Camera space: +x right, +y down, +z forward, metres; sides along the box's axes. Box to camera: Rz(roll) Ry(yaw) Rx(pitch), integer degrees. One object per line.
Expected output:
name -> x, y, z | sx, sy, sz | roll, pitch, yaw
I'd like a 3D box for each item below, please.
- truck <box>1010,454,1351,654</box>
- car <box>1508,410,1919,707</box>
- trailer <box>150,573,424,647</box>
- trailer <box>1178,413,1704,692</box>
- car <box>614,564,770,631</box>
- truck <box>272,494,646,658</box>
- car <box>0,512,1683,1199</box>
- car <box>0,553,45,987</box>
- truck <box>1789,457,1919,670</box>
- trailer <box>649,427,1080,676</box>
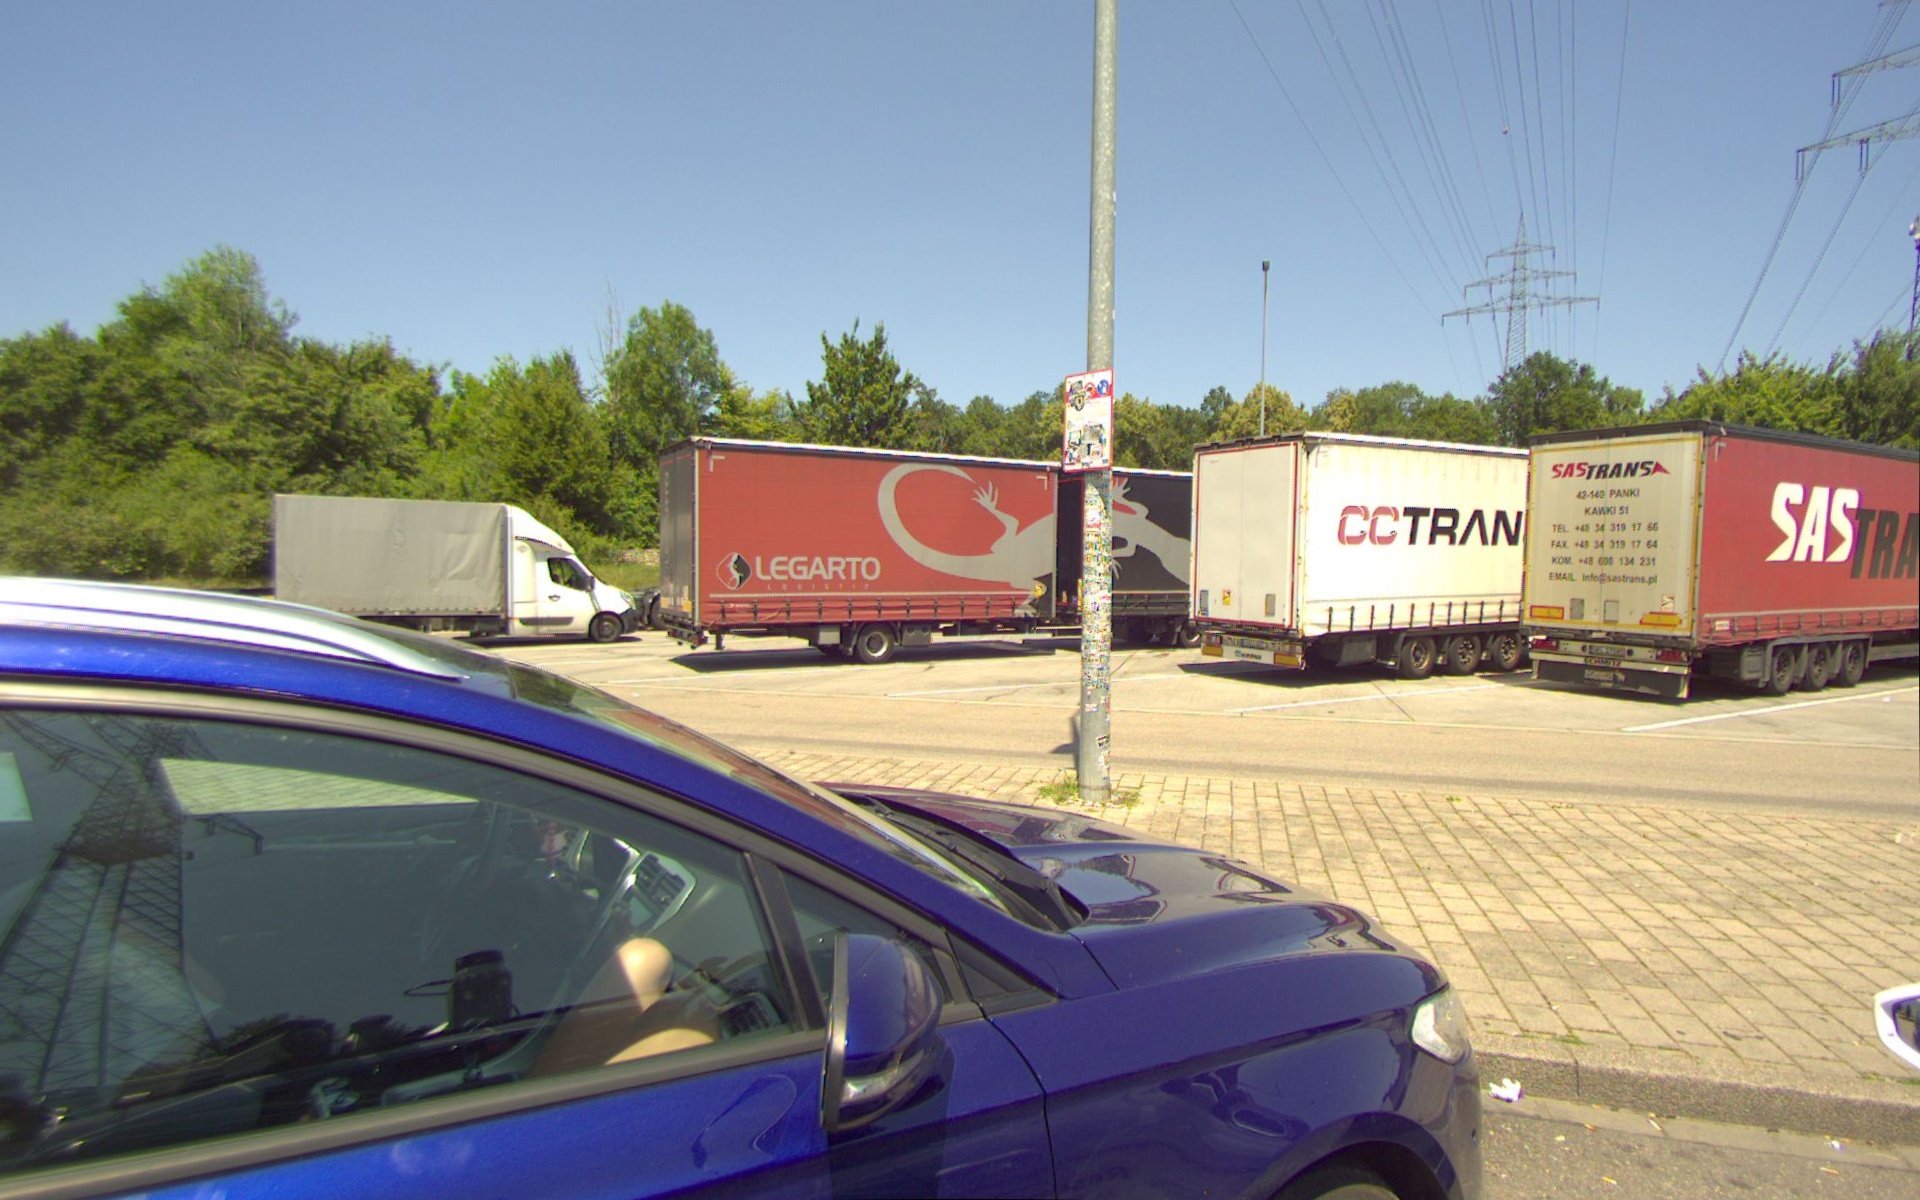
truck -> 5.609, -1.086, 24.829 | 8.683, 4.248, 2.800 | -1, 2, -30
car -> 15.222, -0.698, 18.453 | 12.777, 4.169, 2.683 | -1, 3, -30
trailer -> -15.943, 0.231, 24.185 | 5.332, 1.617, 1.585 | 0, 0, -30
trailer -> 10.117, -0.888, 20.067 | 12.786, 4.325, 2.800 | -1, 2, -31
car -> -7.597, -0.058, 28.520 | 3.953, 1.773, 1.902 | 0, 0, -30
truck -> -11.108, -0.595, 22.878 | 7.219, 3.277, 2.308 | -2, 3, -29
car -> -0.983, 0.669, 1.467 | 4.380, 1.464, 1.771 | 0, 0, -32
car -> -4.609, 0.554, 2.119 | 3.700, 1.432, 1.595 | 0, 0, -32
truck -> 21.148, -0.779, 21.863 | 6.163, 4.169, 2.683 | -1, 3, -30
trailer -> -1.738, -0.937, 20.507 | 8.389, 4.248, 2.800 | -1, 2, -30
